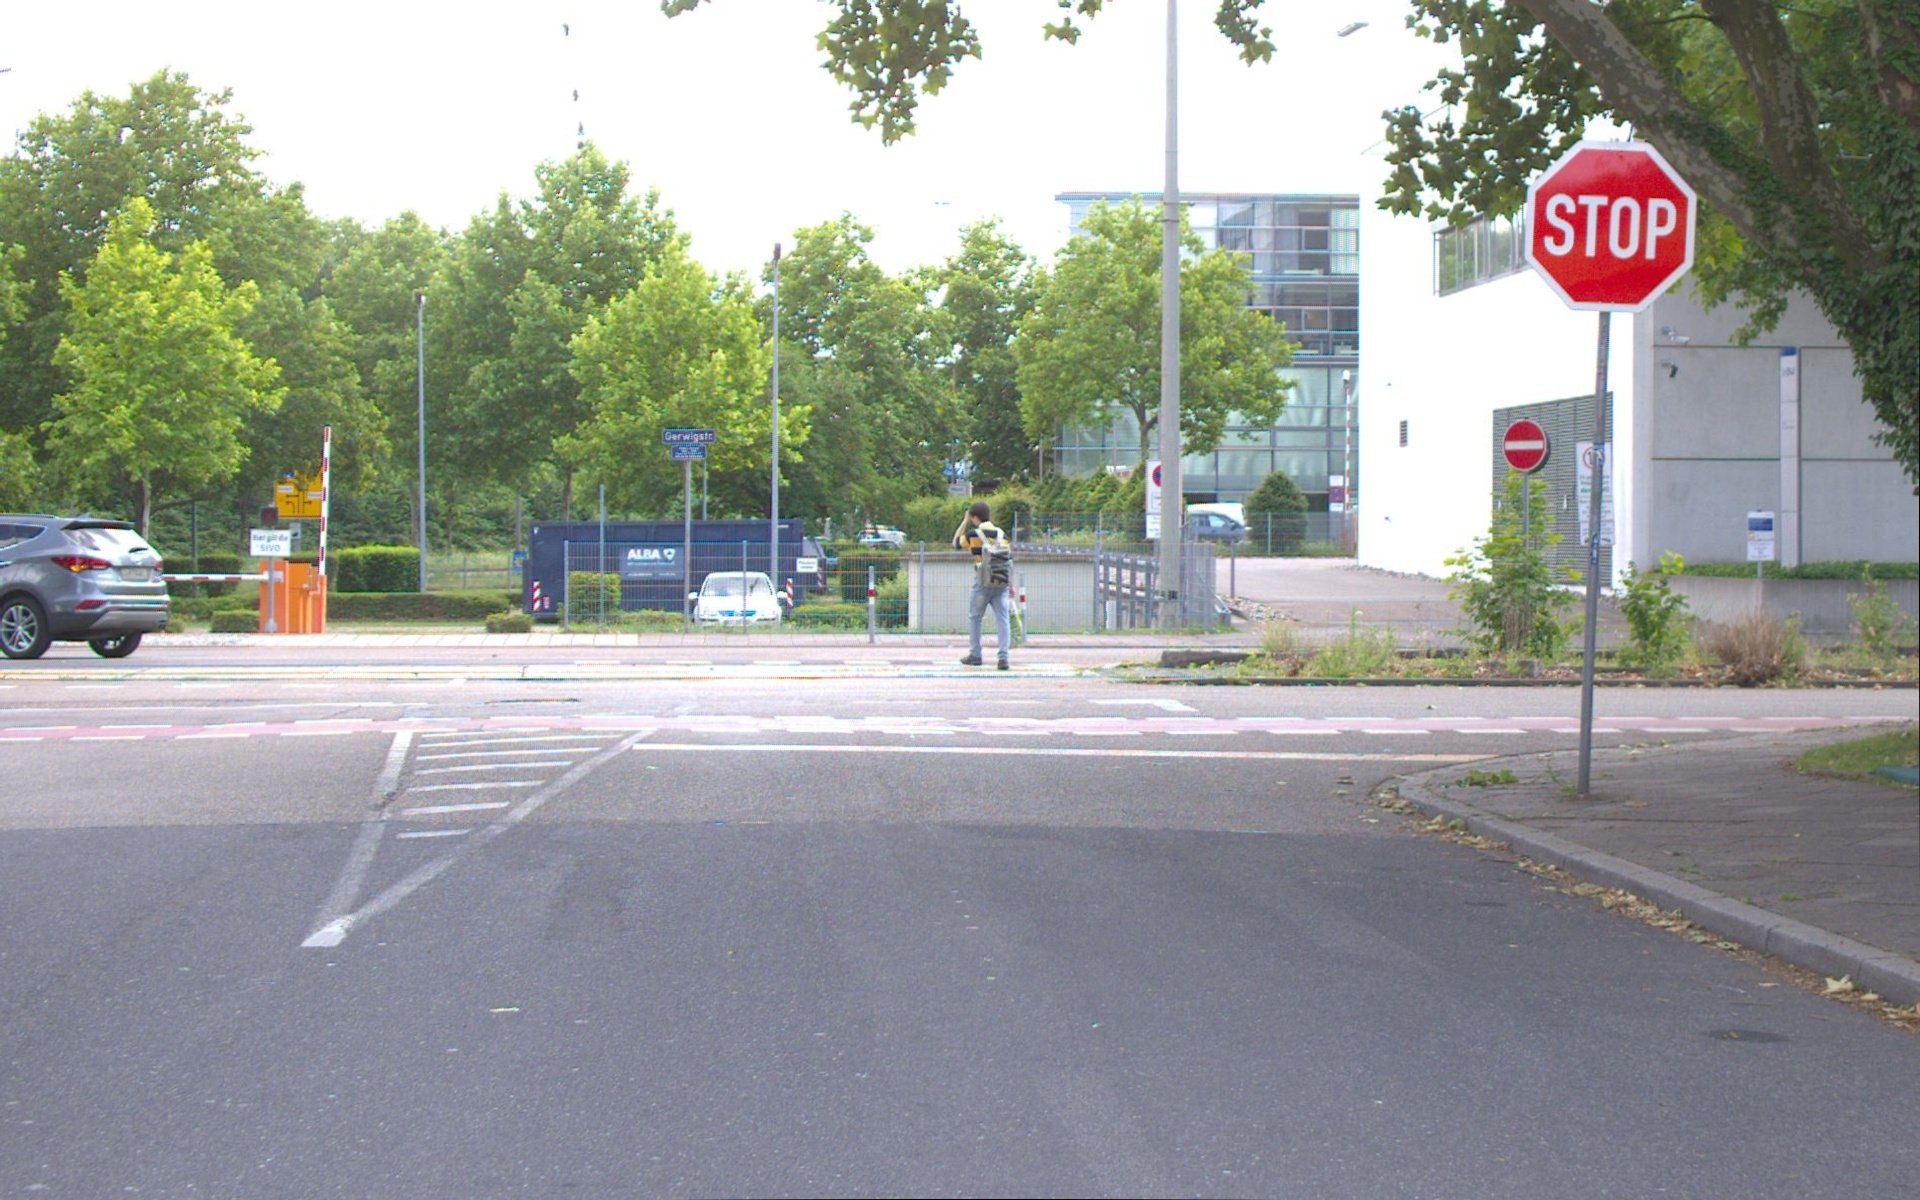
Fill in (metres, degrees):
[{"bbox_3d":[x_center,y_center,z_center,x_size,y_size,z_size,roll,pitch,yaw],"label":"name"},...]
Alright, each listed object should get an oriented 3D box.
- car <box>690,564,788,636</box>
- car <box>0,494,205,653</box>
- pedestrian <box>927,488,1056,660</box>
[{"bbox_3d":[-4.447,-0.020,69.524,1.931,1.398,4.081,0,1,-3],"label":"car"},{"bbox_3d":[-11.345,-0.355,40.842,4.266,1.809,1.966,1,2,21],"label":"car"},{"bbox_3d":[0.337,-0.289,37.443,1.000,1.843,1.230,0,1,-22],"label":"pedestrian"}]
